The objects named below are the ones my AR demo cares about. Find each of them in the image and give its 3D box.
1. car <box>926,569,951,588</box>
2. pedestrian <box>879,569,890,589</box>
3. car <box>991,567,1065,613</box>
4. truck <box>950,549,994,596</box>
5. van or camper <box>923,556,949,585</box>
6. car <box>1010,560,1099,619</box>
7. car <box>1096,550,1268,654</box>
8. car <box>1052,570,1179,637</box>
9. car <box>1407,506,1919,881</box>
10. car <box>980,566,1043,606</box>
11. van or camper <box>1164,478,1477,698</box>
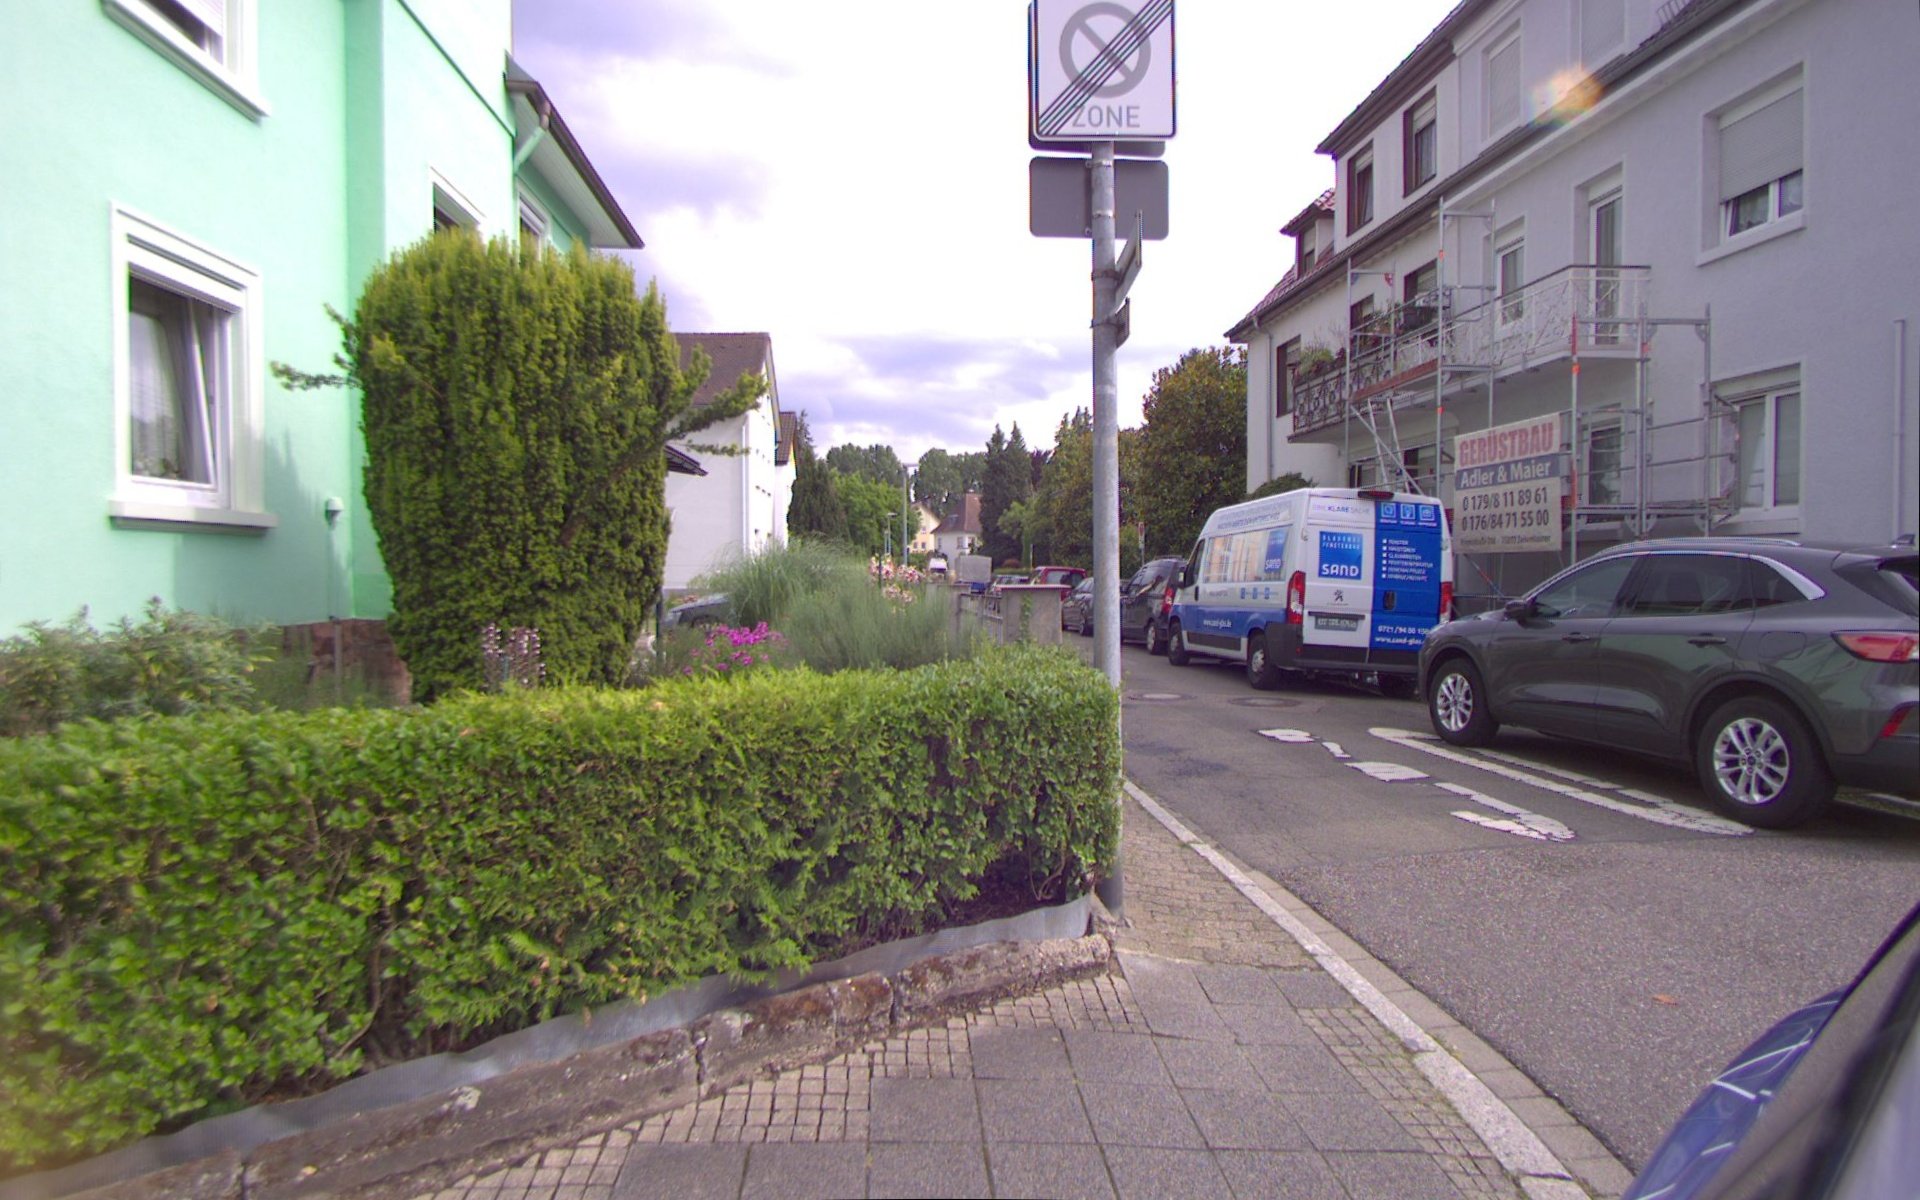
[{"bbox_3d":[-1.745,-1.740,80.515,1.791,1.393,4.004,0,2,-3],"label":"car"},{"bbox_3d":[-5.093,-1.416,67.880,0.650,1.340,0.756,-1,1,-11],"label":"pedestrian"},{"bbox_3d":[2.462,-0.437,37.935,1.959,1.611,4.349,-1,2,-7],"label":"car"},{"bbox_3d":[0.668,-1.673,60.540,2.093,2.690,4.591,-1,2,-7],"label":"truck"},{"bbox_3d":[-2.234,-2.751,93.085,2.106,2.572,5.021,-1,2,-5],"label":"van or camper"},{"bbox_3d":[2.980,-0.387,32.891,1.959,1.771,4.349,-1,2,-7],"label":"car"},{"bbox_3d":[4.209,-0.042,19.966,1.959,1.794,4.349,-1,2,-7],"label":"car"},{"bbox_3d":[3.720,0.012,25.012,1.959,1.473,4.349,-1,2,-7],"label":"car"},{"bbox_3d":[5.184,0.359,6.862,1.959,1.748,4.349,-1,2,-7],"label":"car"},{"bbox_3d":[2.169,-0.645,43.782,1.959,1.611,4.349,-1,2,-7],"label":"car"},{"bbox_3d":[4.630,-0.234,14.063,2.155,2.489,5.061,-1,2,-5],"label":"van or camper"}]
